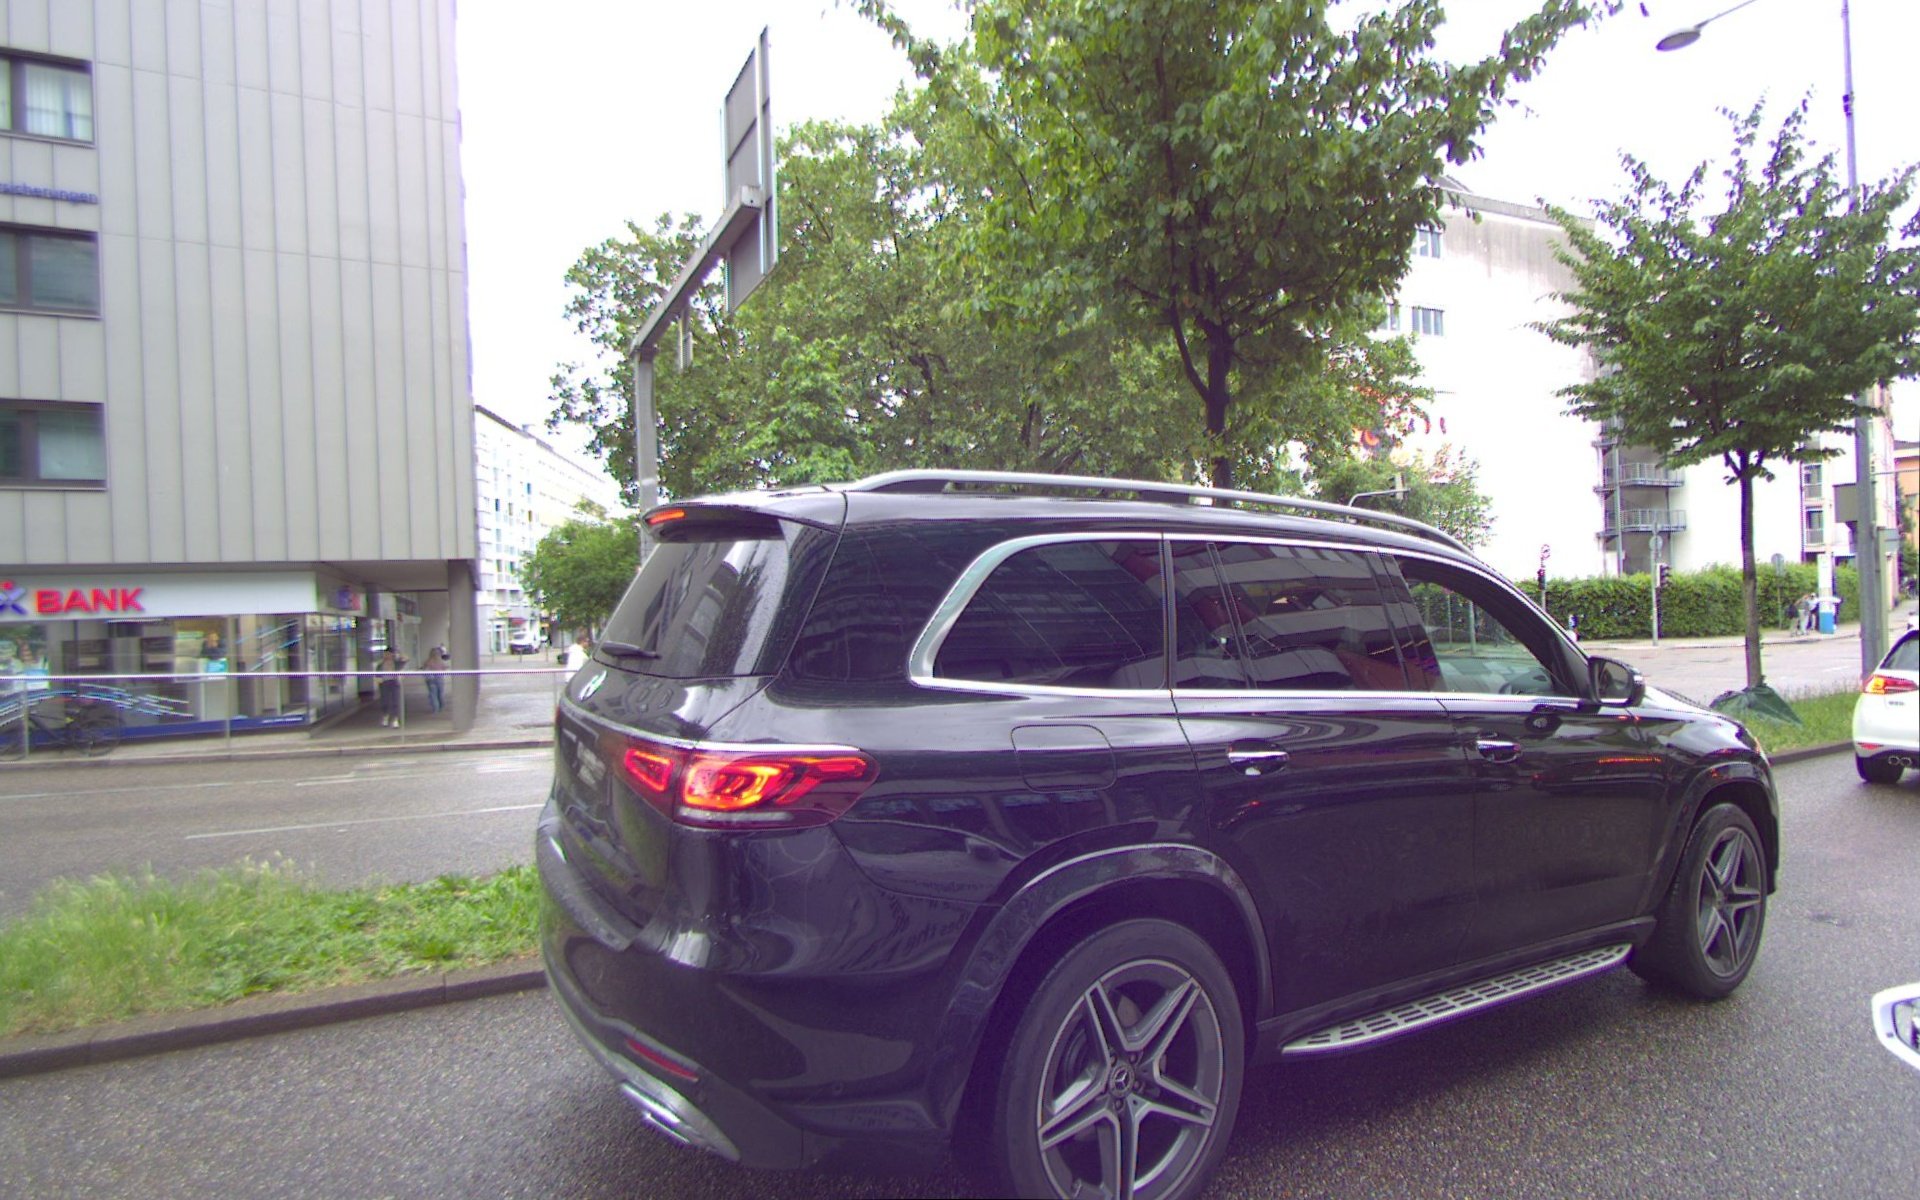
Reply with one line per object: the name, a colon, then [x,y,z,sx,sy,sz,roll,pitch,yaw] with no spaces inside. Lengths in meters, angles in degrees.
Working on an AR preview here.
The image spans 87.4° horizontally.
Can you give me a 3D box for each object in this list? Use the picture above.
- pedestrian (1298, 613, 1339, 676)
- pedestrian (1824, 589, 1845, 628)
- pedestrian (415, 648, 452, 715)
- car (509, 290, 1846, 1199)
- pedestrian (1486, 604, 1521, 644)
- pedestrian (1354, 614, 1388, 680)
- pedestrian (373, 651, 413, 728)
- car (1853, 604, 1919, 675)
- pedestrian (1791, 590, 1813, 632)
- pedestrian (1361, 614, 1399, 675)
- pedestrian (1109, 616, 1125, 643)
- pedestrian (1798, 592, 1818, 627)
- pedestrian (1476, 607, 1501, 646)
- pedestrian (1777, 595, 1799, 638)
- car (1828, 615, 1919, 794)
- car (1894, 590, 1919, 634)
pedestrian: [10.649,1.307,29.848,0.698,1.807,0.922,2,-1,-19]
pedestrian: [40.390,0.385,46.408,0.651,1.751,0.591,2,-1,-38]
pedestrian: [-14.036,2.155,26.772,0.719,1.719,0.782,2,-3,-37]
car: [1.158,0.516,3.813,5.016,1.895,1.901,3,-1,-31]
pedestrian: [22.705,1.005,41.969,0.677,1.599,1.055,2,-1,-34]
pedestrian: [10.777,1.219,26.323,0.572,1.684,0.554,-2,0,-30]
pedestrian: [-12.755,1.989,22.593,0.630,1.659,0.782,2,-1,-37]
car: [21.809,0.856,21.251,1.627,1.506,4.251,0,1,-43]
pedestrian: [36.085,0.470,43.043,0.559,1.771,0.535,2,-1,-35]
pedestrian: [12.002,1.265,28.737,0.620,1.684,0.749,-2,0,-30]
pedestrian: [9.845,1.857,63.079,0.723,1.664,0.635,2,-1,-23]
pedestrian: [39.439,0.450,46.703,0.522,1.620,0.576,2,-1,-36]
pedestrian: [23.043,1.170,43.784,0.633,1.664,0.726,2,-1,-37]
pedestrian: [34.606,0.681,41.995,0.741,1.771,0.535,2,-1,-38]
car: [9.559,0.872,8.973,3.801,1.448,1.767,0,0,-33]
car: [34.353,0.390,35.202,3.571,1.506,1.565,0,1,-33]
